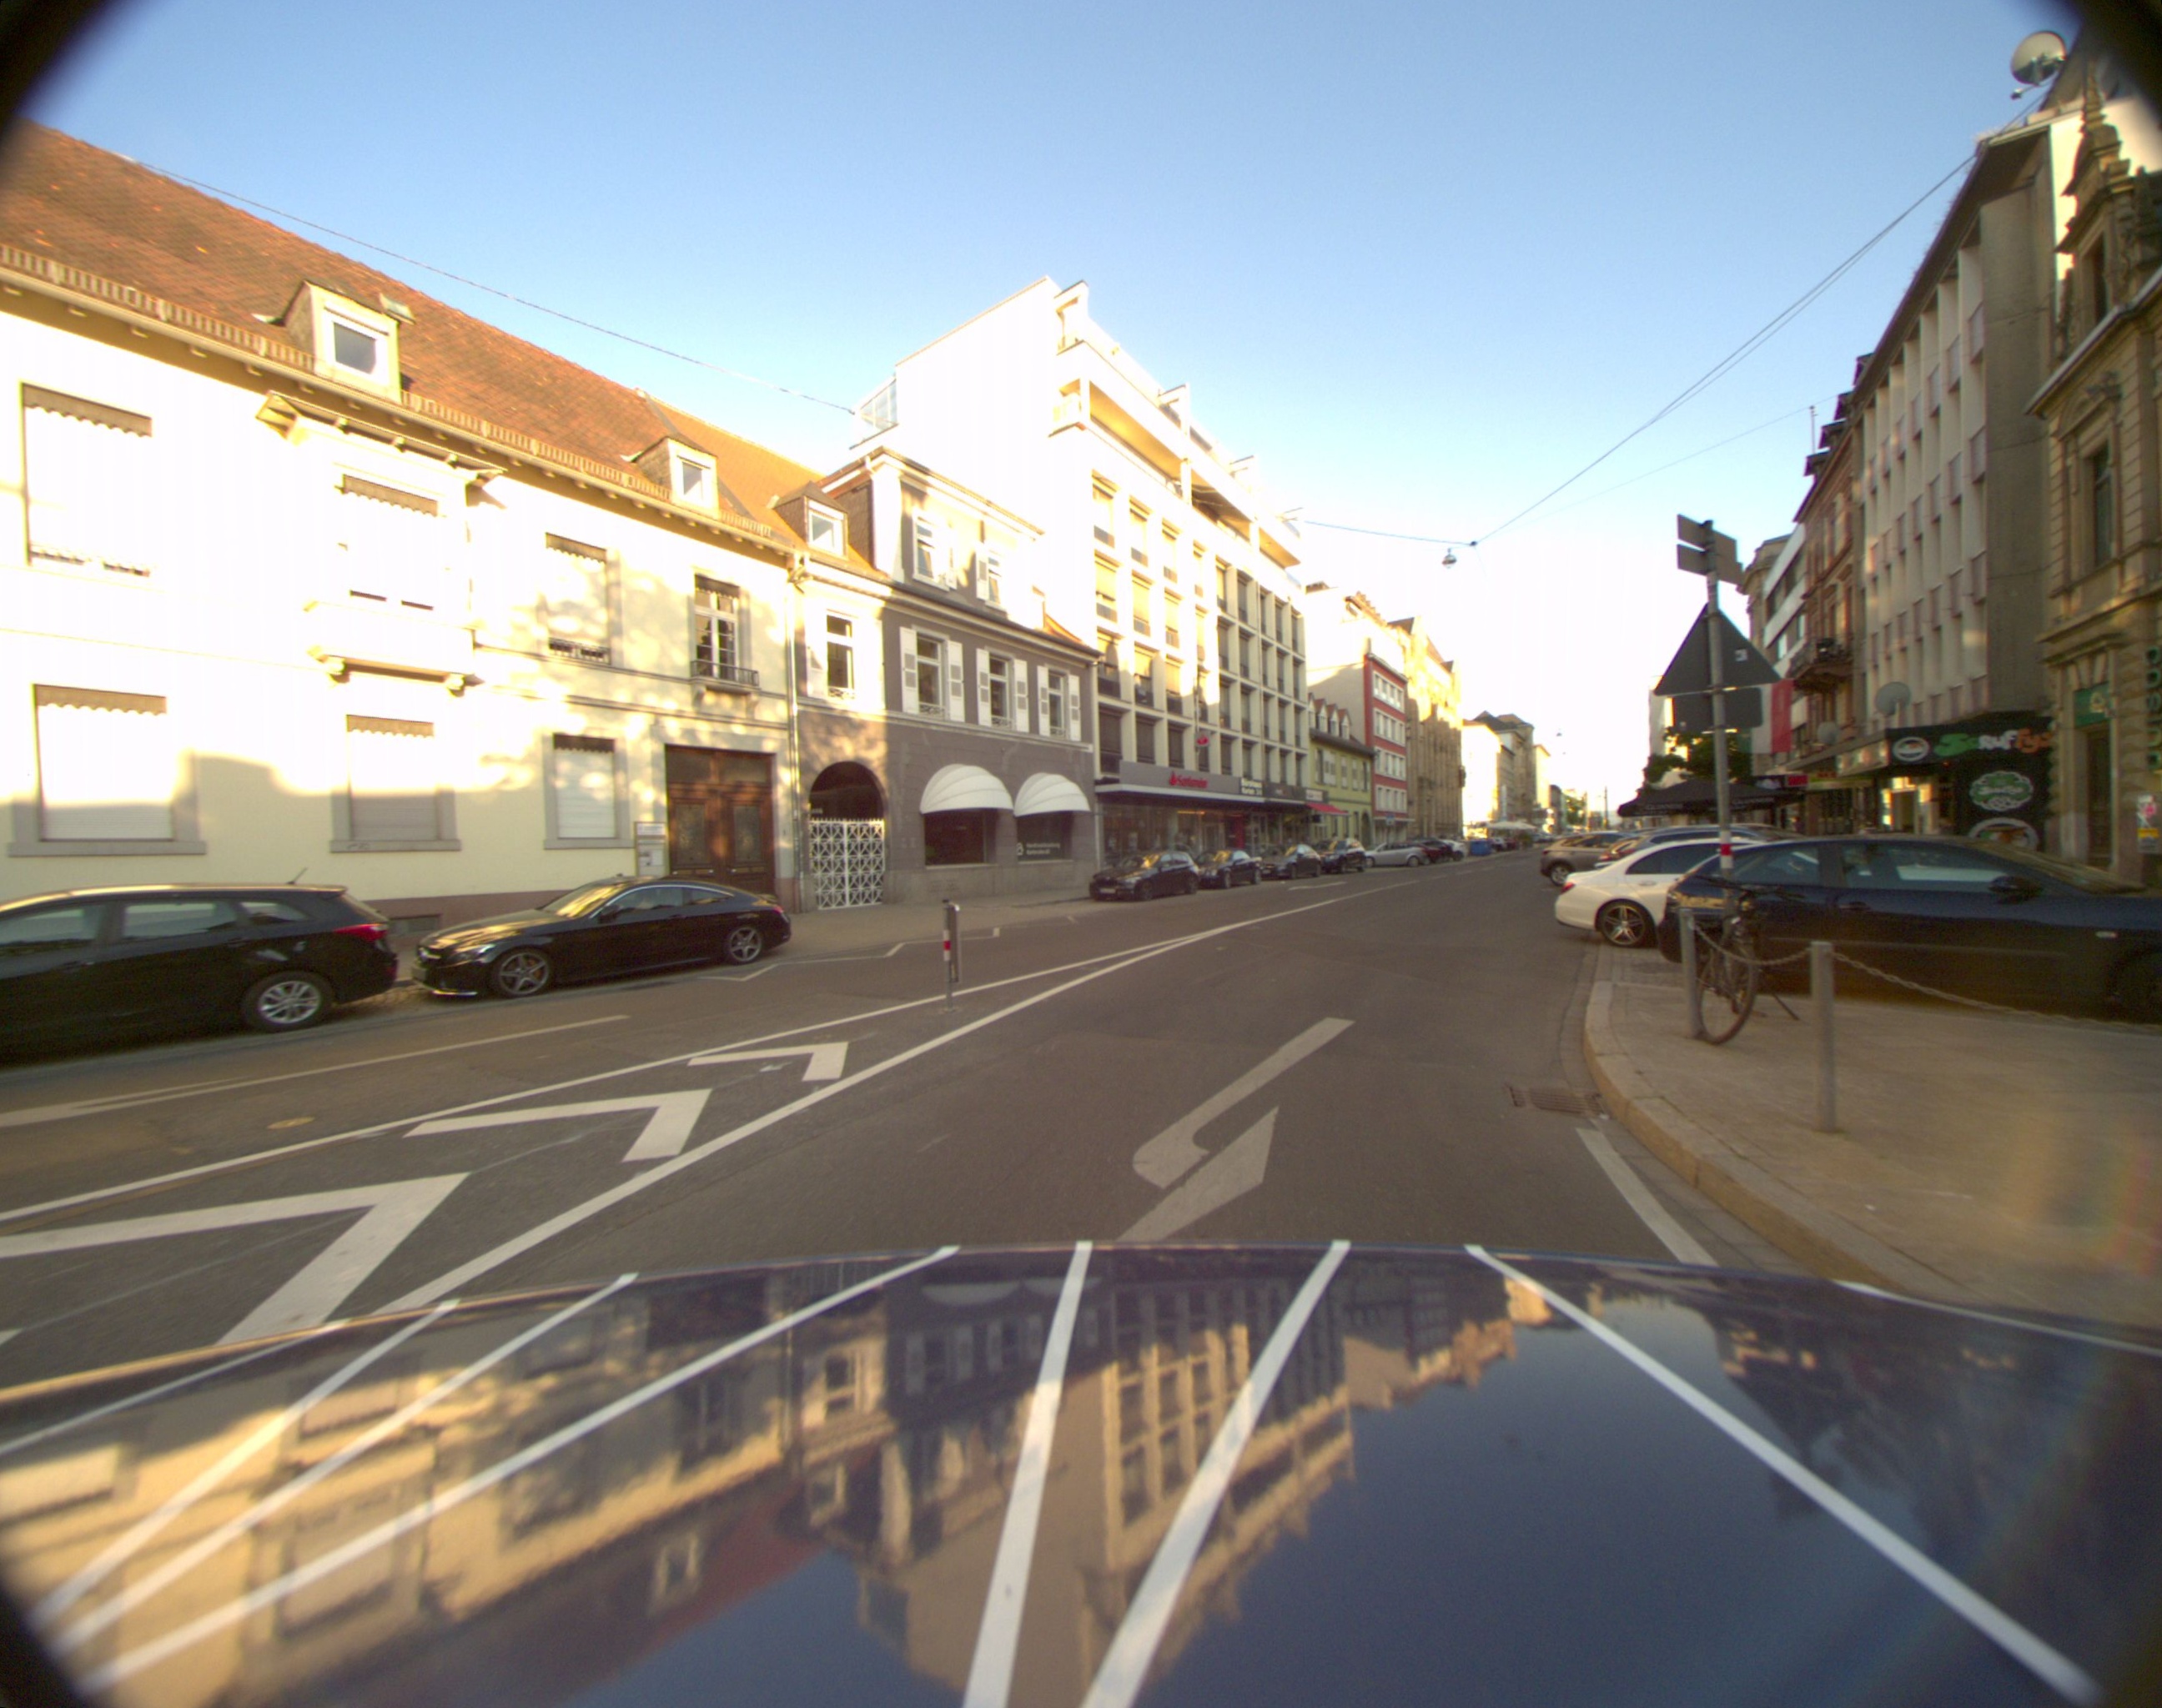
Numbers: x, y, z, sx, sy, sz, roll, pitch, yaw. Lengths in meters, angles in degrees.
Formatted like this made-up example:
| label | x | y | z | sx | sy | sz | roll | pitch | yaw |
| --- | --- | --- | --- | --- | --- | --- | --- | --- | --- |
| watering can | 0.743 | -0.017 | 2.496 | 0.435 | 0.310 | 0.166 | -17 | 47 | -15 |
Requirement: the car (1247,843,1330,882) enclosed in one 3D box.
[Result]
| label | x | y | z | sx | sy | sz | roll | pitch | yaw |
| --- | --- | --- | --- | --- | --- | --- | --- | --- | --- |
| car | 8.763 | 0.313 | 31.876 | 1.743 | 1.438 | 4.567 | -1 | 1 | 37 |

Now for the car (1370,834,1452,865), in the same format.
| label | x | y | z | sx | sy | sz | roll | pitch | yaw |
| --- | --- | --- | --- | --- | --- | --- | --- | --- | --- |
| car | 20.120 | -0.280 | 46.489 | 4.224 | 1.667 | 1.754 | -2 | 1 | 2 |

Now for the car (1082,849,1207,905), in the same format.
| label | x | y | z | sx | sy | sz | roll | pitch | yaw |
| --- | --- | --- | --- | --- | --- | --- | --- | --- | --- |
| car | 2.004 | 0.624 | 22.755 | 1.743 | 1.438 | 4.257 | -1 | 1 | 36 |

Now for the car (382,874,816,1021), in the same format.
| label | x | y | z | sx | sy | sz | roll | pitch | yaw |
| --- | --- | --- | --- | --- | --- | --- | --- | --- | --- |
| car | -6.479 | 1.109 | 10.849 | 1.774 | 1.386 | 4.867 | -2 | 0 | 37 |

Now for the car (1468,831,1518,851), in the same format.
| label | x | y | z | sx | sy | sz | roll | pitch | yaw |
| --- | --- | --- | --- | --- | --- | --- | --- | --- | --- |
| car | 39.959 | -1.254 | 73.754 | 3.831 | 1.714 | 1.756 | -2 | 0 | 11 |

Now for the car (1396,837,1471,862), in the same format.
| label | x | y | z | sx | sy | sz | roll | pitch | yaw |
| --- | --- | --- | --- | --- | --- | --- | --- | --- | --- |
| car | 23.568 | -0.298 | 50.889 | 4.223 | 1.465 | 1.755 | -2 | 1 | 6 |

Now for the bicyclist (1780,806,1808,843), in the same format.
| label | x | y | z | sx | sy | sz | roll | pitch | yaw |
| --- | --- | --- | --- | --- | --- | --- | --- | --- | --- |
| bicyclist | 31.170 | -1.271 | 33.229 | 0.766 | 1.550 | 0.814 | -2 | 1 | 35 |

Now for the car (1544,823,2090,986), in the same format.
| label | x | y | z | sx | sy | sz | roll | pitch | yaw |
| --- | --- | --- | --- | --- | --- | --- | --- | --- | --- |
| car | 8.765 | 0.539 | 9.667 | 1.771 | 1.503 | 4.620 | -3 | -1 | -26 |

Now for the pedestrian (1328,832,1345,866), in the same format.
| label | x | y | z | sx | sy | sz | roll | pitch | yaw |
| --- | --- | --- | --- | --- | --- | --- | --- | --- | --- |
| pedestrian | 15.709 | -0.322 | 46.736 | 0.761 | 2.055 | 0.720 | -1 | 1 | 35 |

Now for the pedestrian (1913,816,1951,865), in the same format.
| label | x | y | z | sx | sy | sz | roll | pitch | yaw |
| --- | --- | --- | --- | --- | --- | --- | --- | --- | --- |
| pedestrian | 22.939 | -0.364 | 20.493 | 0.573 | 1.301 | 0.577 | -1 | 1 | 36 |

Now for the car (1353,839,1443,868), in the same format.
| label | x | y | z | sx | sy | sz | roll | pitch | yaw |
| --- | --- | --- | --- | --- | --- | --- | --- | --- | --- |
| car | 17.423 | -0.052 | 41.825 | 4.226 | 1.431 | 1.753 | -2 | 1 | -4 |

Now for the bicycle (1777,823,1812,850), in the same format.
| label | x | y | z | sx | sy | sz | roll | pitch | yaw |
| --- | --- | --- | --- | --- | --- | --- | --- | --- | --- |
| bicycle | 31.151 | -0.757 | 33.203 | 0.766 | 1.108 | 2.182 | -2 | 1 | 35 |

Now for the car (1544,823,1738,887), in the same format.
| label | x | y | z | sx | sy | sz | roll | pitch | yaw |
| --- | --- | --- | --- | --- | --- | --- | --- | --- | --- |
| car | 15.898 | 0.069 | 21.777 | 1.856 | 1.619 | 4.043 | -3 | 0 | -33 |

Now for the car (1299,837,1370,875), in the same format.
| label | x | y | z | sx | sy | sz | roll | pitch | yaw |
| --- | --- | --- | --- | --- | --- | --- | --- | --- | --- |
| car | 12.038 | 0.062 | 35.946 | 1.828 | 1.649 | 4.371 | -1 | 1 | 38 |

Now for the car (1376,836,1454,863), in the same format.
| label | x | y | z | sx | sy | sz | roll | pitch | yaw |
| --- | --- | --- | --- | --- | --- | --- | --- | --- | --- |
| car | 21.411 | -0.284 | 48.771 | 4.223 | 1.607 | 1.755 | -2 | 1 | 6 |

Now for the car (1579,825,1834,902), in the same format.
| label | x | y | z | sx | sy | sz | roll | pitch | yaw |
| --- | --- | --- | --- | --- | --- | --- | --- | --- | --- |
| car | 14.443 | 0.194 | 17.869 | 1.712 | 1.539 | 4.288 | -3 | 1 | -24 |

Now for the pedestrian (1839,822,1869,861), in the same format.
| label | x | y | z | sx | sy | sz | roll | pitch | yaw |
| --- | --- | --- | --- | --- | --- | --- | --- | --- | --- |
| pedestrian | 25.146 | -0.414 | 24.719 | 0.575 | 1.238 | 0.677 | -1 | 1 | 35 |

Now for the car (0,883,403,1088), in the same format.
| label | x | y | z | sx | sy | sz | roll | pitch | yaw |
| --- | --- | --- | --- | --- | --- | --- | --- | --- | --- |
| car | -9.386 | 1.165 | 6.932 | 1.802 | 1.533 | 4.439 | -2 | 0 | 36 |

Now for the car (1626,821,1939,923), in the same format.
| label | x | y | z | sx | sy | sz | roll | pitch | yaw |
| --- | --- | --- | --- | --- | --- | --- | --- | --- | --- |
| car | 13.167 | 0.276 | 14.563 | 1.795 | 1.647 | 4.041 | -2 | 1 | -29 |

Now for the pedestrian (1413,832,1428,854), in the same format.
| label | x | y | z | sx | sy | sz | roll | pitch | yaw |
| --- | --- | --- | --- | --- | --- | --- | --- | --- | --- |
| pedestrian | 29.866 | -0.986 | 66.837 | 0.848 | 1.933 | 1.014 | -1 | 1 | 41 |

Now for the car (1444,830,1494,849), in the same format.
| label | x | y | z | sx | sy | sz | roll | pitch | yaw |
| --- | --- | --- | --- | --- | --- | --- | --- | --- | --- |
| car | 39.977 | -1.495 | 78.329 | 4.221 | 1.871 | 1.755 | -2 | 1 | 11 |

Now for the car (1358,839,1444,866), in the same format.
| label | x | y | z | sx | sy | sz | roll | pitch | yaw |
| --- | --- | --- | --- | --- | --- | --- | --- | --- | --- |
| car | 18.611 | -0.107 | 44.307 | 4.224 | 1.431 | 1.754 | -2 | 1 | 2 |

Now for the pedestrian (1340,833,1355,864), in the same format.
| label | x | y | z | sx | sy | sz | roll | pitch | yaw |
| --- | --- | --- | --- | --- | --- | --- | --- | --- | --- |
| pedestrian | 16.226 | -0.338 | 46.260 | 0.611 | 1.876 | 0.720 | -1 | 1 | 35 |

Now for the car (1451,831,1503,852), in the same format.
| label | x | y | z | sx | sy | sz | roll | pitch | yaw |
| --- | --- | --- | --- | --- | --- | --- | --- | --- | --- |
| car | 35.910 | -1.107 | 68.936 | 3.831 | 1.743 | 1.755 | -2 | 1 | 11 |

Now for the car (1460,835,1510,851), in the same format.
| label | x | y | z | sx | sy | sz | roll | pitch | yaw |
| --- | --- | --- | --- | --- | --- | --- | --- | --- | --- |
| car | 37.890 | -1.042 | 71.351 | 3.831 | 1.339 | 1.740 | -2 | 0 | 11 |

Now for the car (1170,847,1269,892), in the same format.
| label | x | y | z | sx | sy | sz | roll | pitch | yaw |
| --- | --- | --- | --- | --- | --- | --- | --- | --- | --- |
| car | 5.035 | 0.510 | 27.088 | 1.743 | 1.379 | 4.509 | -1 | 1 | 35 |

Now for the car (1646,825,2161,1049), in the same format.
| label | x | y | z | sx | sy | sz | roll | pitch | yaw |
| --- | --- | --- | --- | --- | --- | --- | --- | --- | --- |
| car | 7.355 | 0.580 | 6.278 | 1.743 | 1.452 | 3.856 | -3 | -2 | -30 |

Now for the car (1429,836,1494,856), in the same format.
| label | x | y | z | sx | sy | sz | roll | pitch | yaw |
| --- | --- | --- | --- | --- | --- | --- | --- | --- | --- |
| car | 30.317 | -0.646 | 60.652 | 4.223 | 1.465 | 1.755 | -2 | 1 | 6 |

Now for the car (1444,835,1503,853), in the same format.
| label | x | y | z | sx | sy | sz | roll | pitch | yaw |
| --- | --- | --- | --- | --- | --- | --- | --- | --- | --- |
| car | 34.309 | -0.858 | 66.473 | 4.221 | 1.465 | 1.755 | -2 | 1 | 11 |

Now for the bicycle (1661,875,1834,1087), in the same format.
| label | x | y | z | sx | sy | sz | roll | pitch | yaw |
| --- | --- | --- | --- | --- | --- | --- | --- | --- | --- |
| bicycle | 4.657 | 0.770 | 5.268 | 0.726 | 1.119 | 1.807 | -5 | -1 | 44 |

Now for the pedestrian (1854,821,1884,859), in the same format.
| label | x | y | z | sx | sy | sz | roll | pitch | yaw |
| --- | --- | --- | --- | --- | --- | --- | --- | --- | --- |
| pedestrian | 26.448 | -0.464 | 25.521 | 0.575 | 1.238 | 0.677 | -1 | 1 | 35 |

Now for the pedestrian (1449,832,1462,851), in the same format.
| label | x | y | z | sx | sy | sz | roll | pitch | yaw |
| --- | --- | --- | --- | --- | --- | --- | --- | --- | --- |
| pedestrian | 36.849 | -1.246 | 74.753 | 0.848 | 1.789 | 1.014 | -1 | 1 | 41 |
